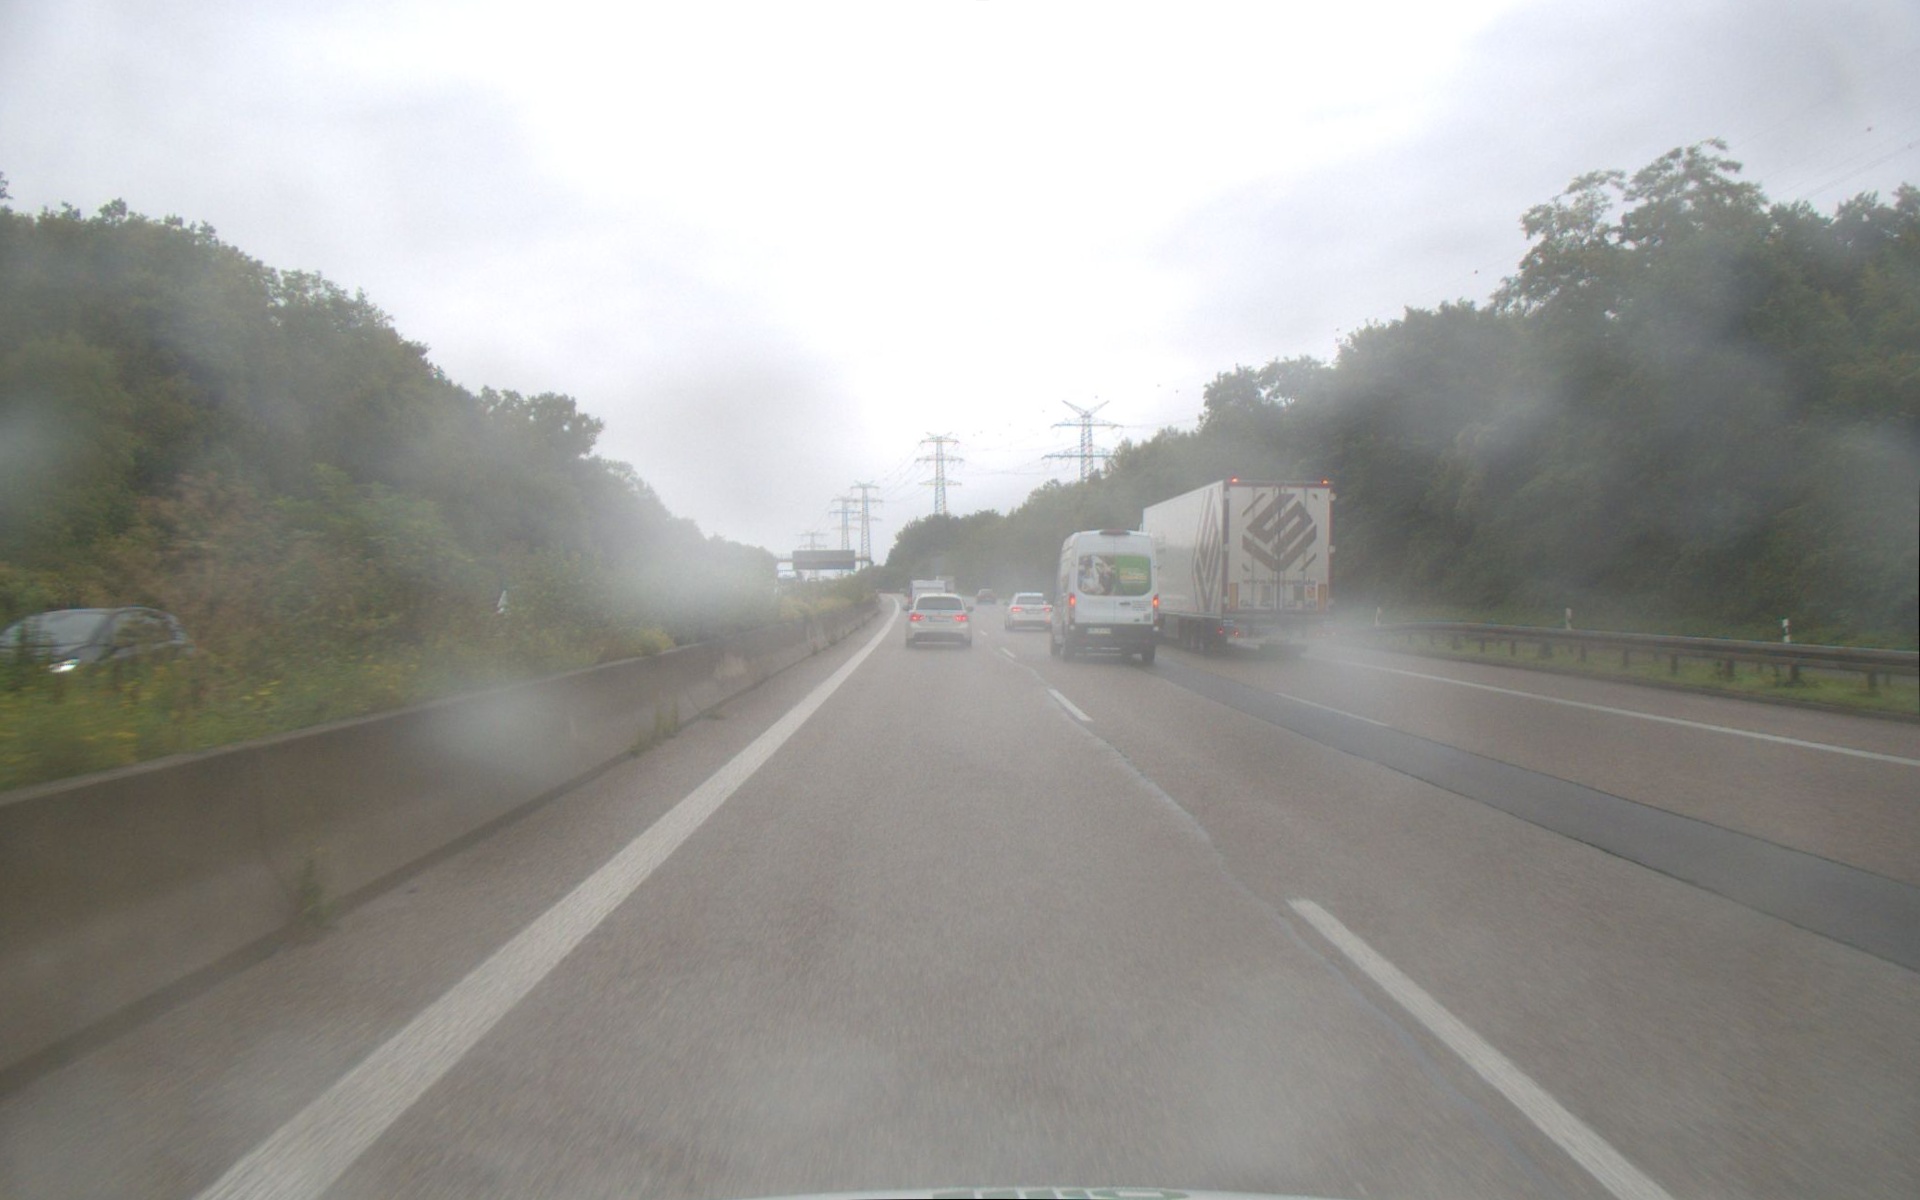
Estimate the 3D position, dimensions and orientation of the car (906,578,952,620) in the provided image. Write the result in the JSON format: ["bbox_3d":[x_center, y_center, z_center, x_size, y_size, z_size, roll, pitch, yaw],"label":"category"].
[{"bbox_3d":[-1.353,-0.058,74.073,1.807,1.803,4.001,-1,0,2],"label":"car"}]

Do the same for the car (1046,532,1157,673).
[{"bbox_3d":[3.064,0.049,36.585,1.953,2.914,3.998,-1,0,-2],"label":"car"}]

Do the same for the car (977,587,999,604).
[{"bbox_3d":[2.756,-0.424,161.848,1.952,1.512,4.001,-2,-1,2],"label":"car"}]

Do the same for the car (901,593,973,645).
[{"bbox_3d":[-0.576,0.482,44.174,1.828,1.310,4.000,-1,0,0],"label":"car"}]

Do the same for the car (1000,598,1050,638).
[{"bbox_3d":[2.488,0.660,62.387,1.818,1.447,4.002,0,0,3],"label":"car"}]

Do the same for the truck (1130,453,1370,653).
[{"bbox_3d":[7.078,-1.001,43.092,3.531,4.408,13.194,0,0,-2],"label":"truck"}]

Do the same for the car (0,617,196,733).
[{"bbox_3d":[-12.910,1.029,23.984,1.837,1.478,3.999,-1,0,-1],"label":"car"}]
